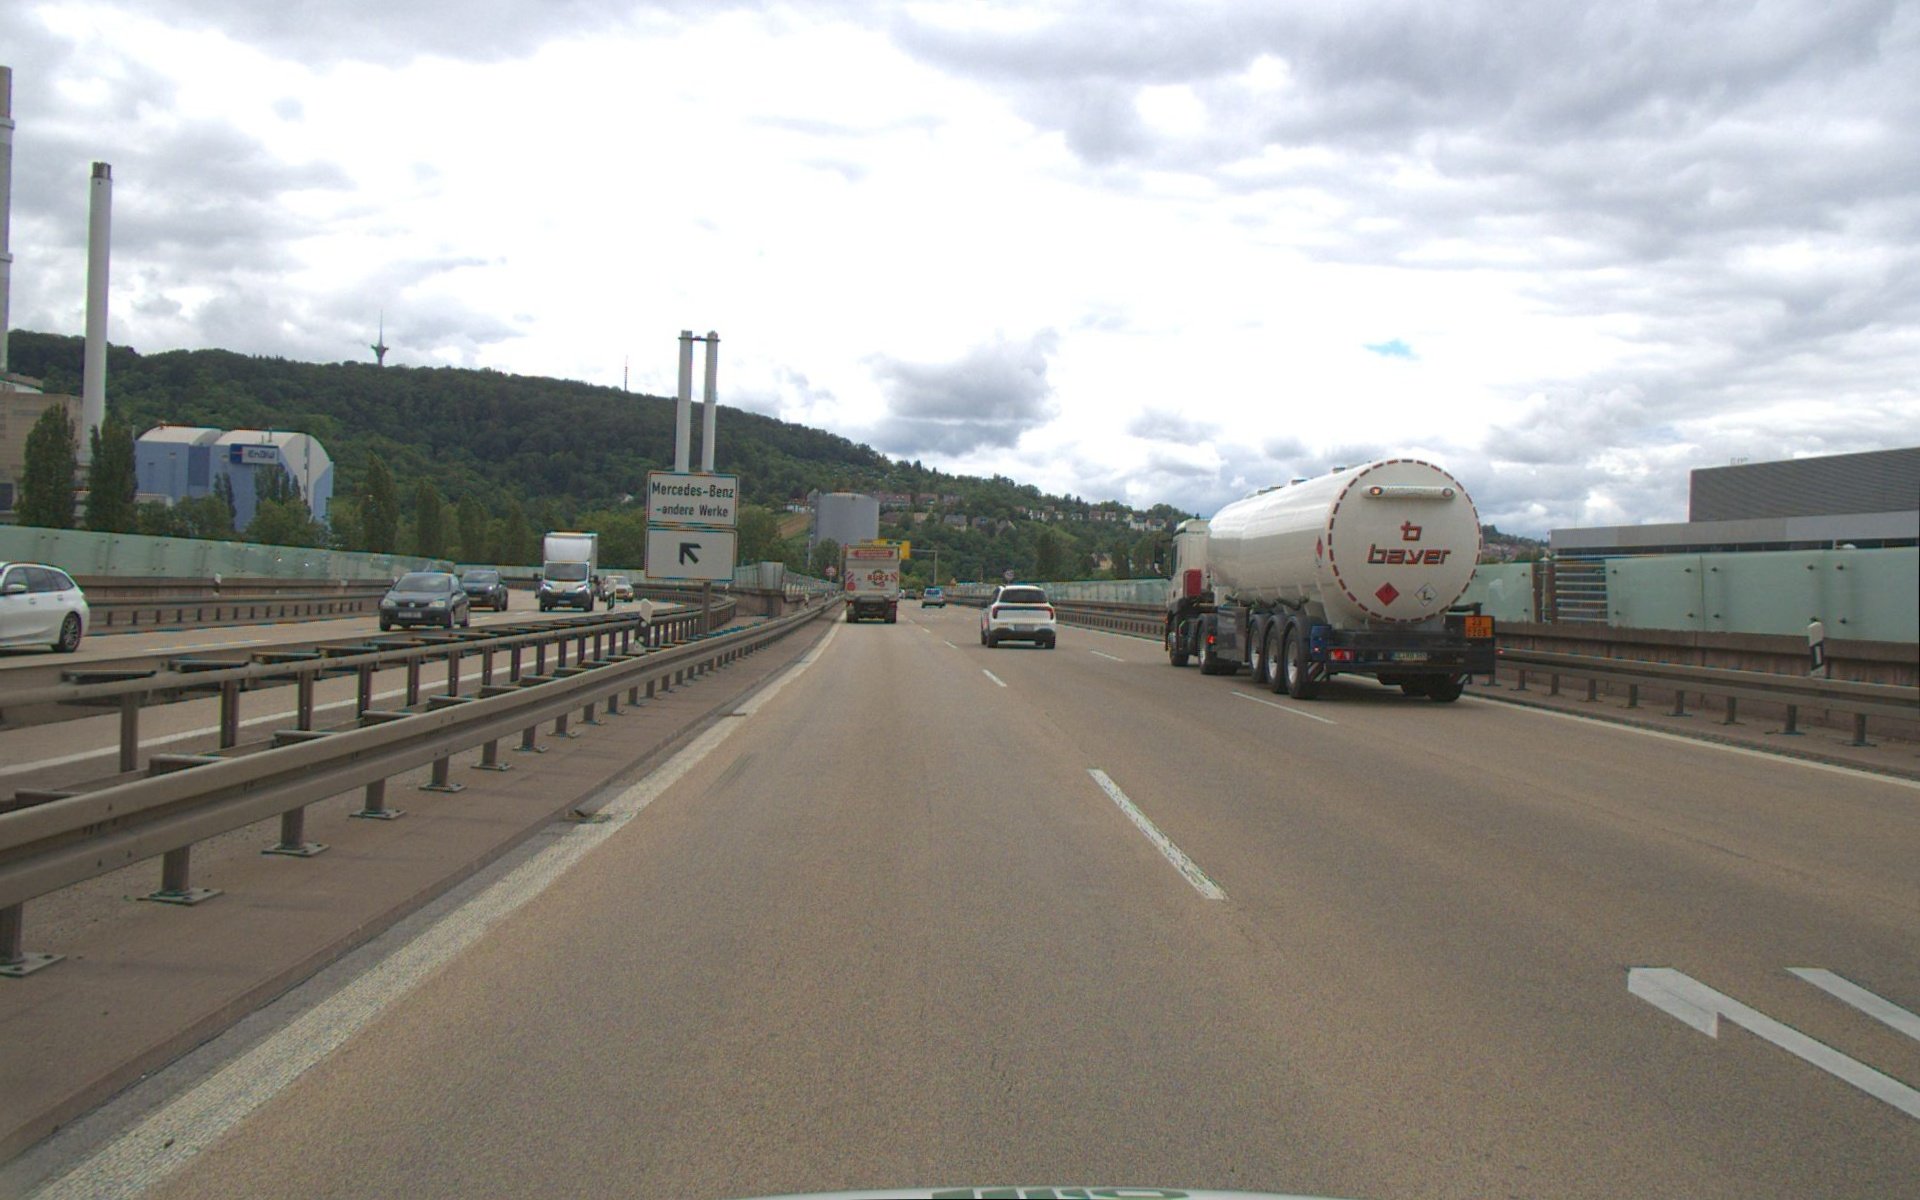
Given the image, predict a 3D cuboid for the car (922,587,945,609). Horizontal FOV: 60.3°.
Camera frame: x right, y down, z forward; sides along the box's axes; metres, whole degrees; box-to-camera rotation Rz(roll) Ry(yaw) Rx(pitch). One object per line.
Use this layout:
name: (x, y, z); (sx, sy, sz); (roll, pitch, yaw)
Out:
car: (-2.309, -0.168, 144.576); (1.885, 1.817, 4.112); (1, 0, -1)

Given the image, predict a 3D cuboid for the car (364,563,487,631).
car: (-13.681, -0.077, 42.639); (1.983, 1.639, 4.809); (0, 0, -5)

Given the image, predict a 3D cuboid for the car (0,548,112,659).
car: (-15.205, 0.040, 25.576); (1.879, 1.639, 4.812); (0, 0, -3)

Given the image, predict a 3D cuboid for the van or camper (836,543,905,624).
van or camper: (-4.310, -0.728, 79.997); (3.059, 3.642, 8.545); (1, 0, -3)

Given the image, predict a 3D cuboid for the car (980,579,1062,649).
car: (1.635, 0.354, 45.699); (1.885, 1.817, 4.111); (1, 0, -3)

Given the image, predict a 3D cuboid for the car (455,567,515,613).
car: (-19.428, -0.421, 67.786); (1.721, 1.778, 4.361); (1, 0, -8)

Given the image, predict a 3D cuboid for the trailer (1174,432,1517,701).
trailer: (5.965, -0.429, 28.013); (2.597, 3.605, 11.213); (1, 0, -3)

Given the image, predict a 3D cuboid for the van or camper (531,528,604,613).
van or camper: (-16.879, -1.212, 71.454); (2.359, 3.447, 6.942); (1, 0, -8)

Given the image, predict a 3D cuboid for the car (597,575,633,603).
car: (-21.850, -0.682, 104.876); (1.809, 1.702, 4.401); (1, 0, -7)

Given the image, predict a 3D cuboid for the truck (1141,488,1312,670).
truck: (5.571, -0.406, 35.313); (2.578, 3.575, 4.901); (1, 0, -3)
